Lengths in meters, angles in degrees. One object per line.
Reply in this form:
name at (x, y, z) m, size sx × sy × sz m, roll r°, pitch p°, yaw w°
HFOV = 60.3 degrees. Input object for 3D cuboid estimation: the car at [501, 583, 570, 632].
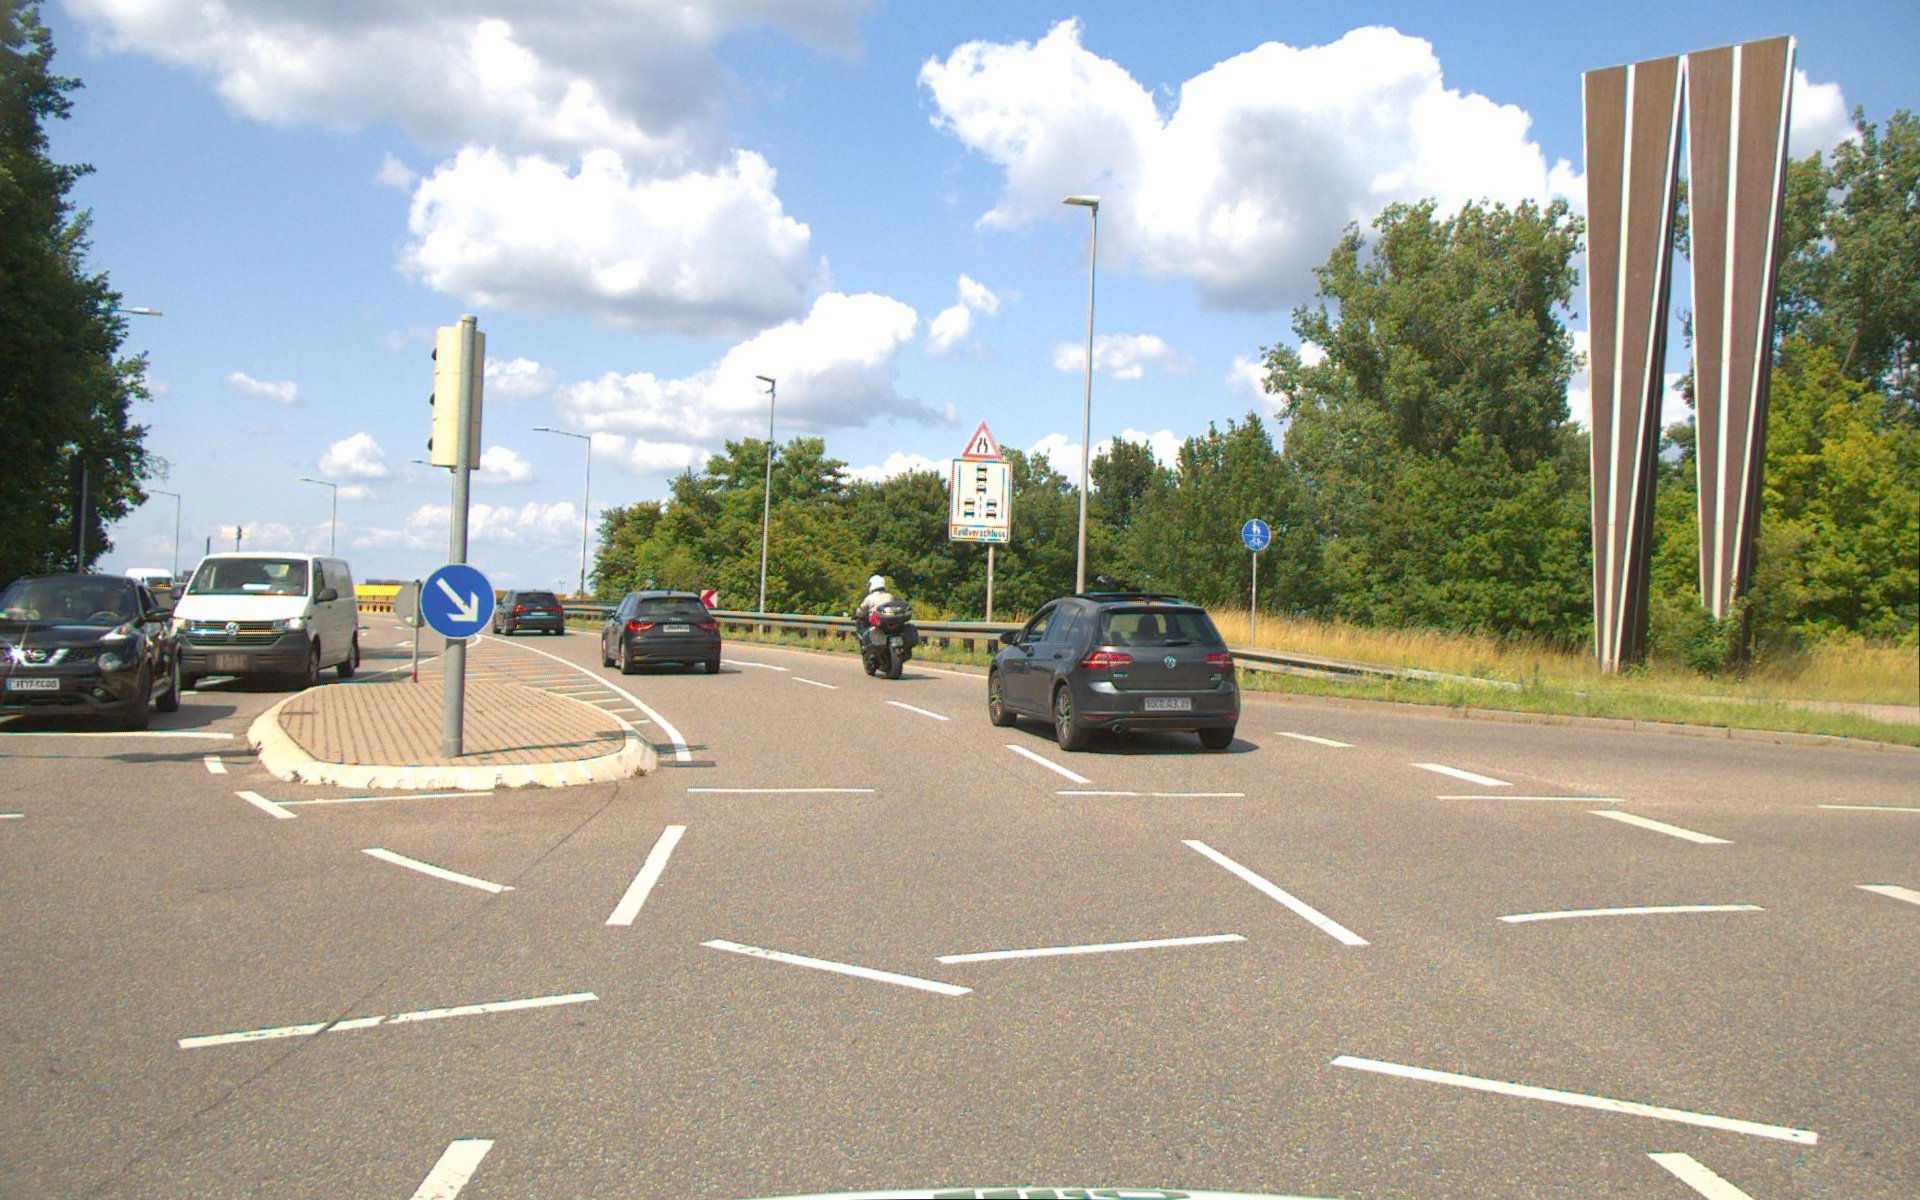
car at (-13.700, 0.243, 53.255) m, size 1.620 × 1.505 × 3.844 m, roll 1°, pitch -1°, yaw -23°

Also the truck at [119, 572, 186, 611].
truck at (-53.480, -0.556, 109.509) m, size 5.841 × 2.551 × 1.988 m, roll 0°, pitch 0°, yaw 42°

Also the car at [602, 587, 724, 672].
car at (-5.362, 0.517, 29.570) m, size 1.656 × 1.412 × 3.719 m, roll 0°, pitch -1°, yaw -18°

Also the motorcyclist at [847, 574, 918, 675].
motorcyclist at (-1.306, 0.412, 27.767) m, size 0.950 × 1.649 × 1.120 m, roll 1°, pitch -1°, yaw -15°

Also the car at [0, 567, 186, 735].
car at (-9.334, 0.478, 17.574) m, size 1.673 × 1.584 × 3.799 m, roll 1°, pitch 0°, yaw -20°

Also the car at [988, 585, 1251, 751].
car at (1.515, 0.648, 17.097) m, size 1.613 × 1.505 × 3.860 m, roll 1°, pitch -1°, yaw -12°

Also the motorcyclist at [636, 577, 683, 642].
motorcyclist at (-7.770, 0.246, 42.736) m, size 0.953 × 1.624 × 1.117 m, roll 1°, pitch -1°, yaw -23°

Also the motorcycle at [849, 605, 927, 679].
motorcycle at (-1.223, 0.672, 27.454) m, size 0.776 × 1.152 × 2.389 m, roll 1°, pitch 0°, yaw -15°

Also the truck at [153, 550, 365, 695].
truck at (-10.375, 0.301, 24.892) m, size 1.926 × 1.946 × 5.354 m, roll 1°, pitch 0°, yaw -12°

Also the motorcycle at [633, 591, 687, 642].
motorcycle at (-7.734, 0.413, 42.587) m, size 0.875 × 1.269 × 2.383 m, roll 1°, pitch 0°, yaw -22°
